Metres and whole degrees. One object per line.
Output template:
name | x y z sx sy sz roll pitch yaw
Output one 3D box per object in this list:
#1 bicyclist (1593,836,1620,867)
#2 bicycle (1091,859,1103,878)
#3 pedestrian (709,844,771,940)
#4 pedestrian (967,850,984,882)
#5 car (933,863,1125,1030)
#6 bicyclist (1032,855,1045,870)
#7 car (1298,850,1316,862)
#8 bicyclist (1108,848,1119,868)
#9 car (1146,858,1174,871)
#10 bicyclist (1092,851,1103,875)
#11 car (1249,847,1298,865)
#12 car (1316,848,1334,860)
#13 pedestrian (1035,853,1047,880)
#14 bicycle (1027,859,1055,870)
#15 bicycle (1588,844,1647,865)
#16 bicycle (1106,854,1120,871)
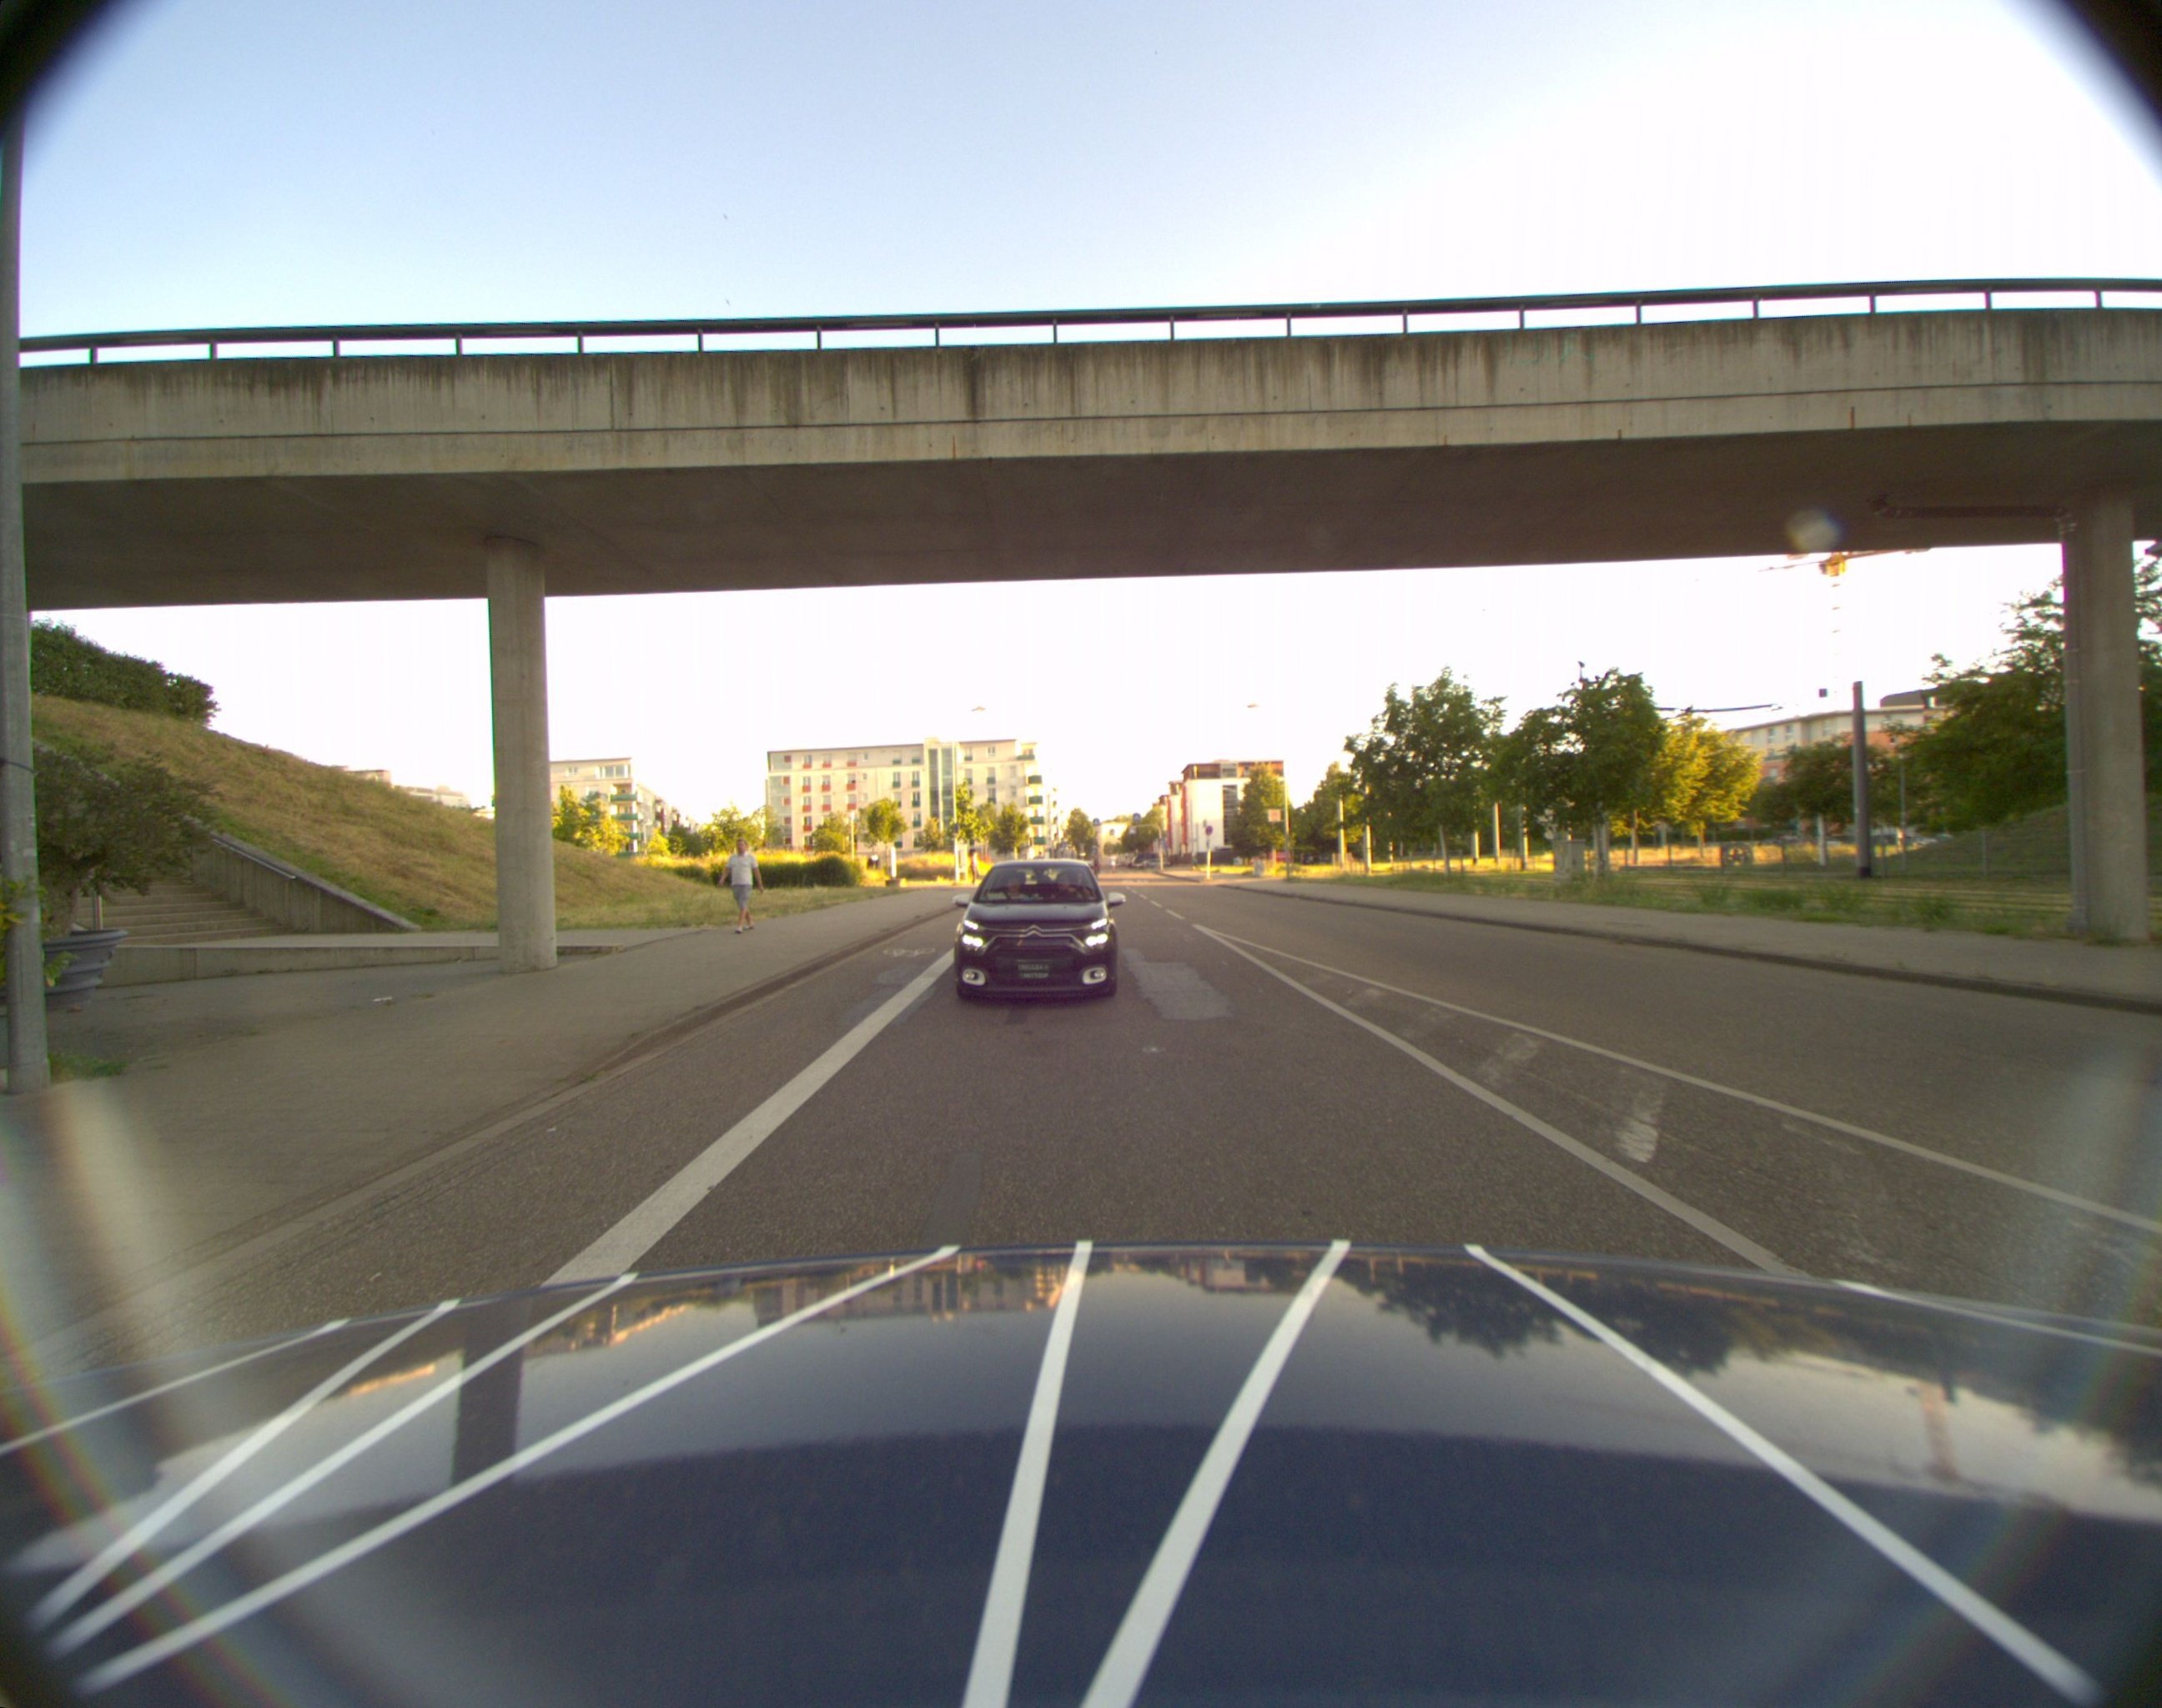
bicyclist | 28.482 -0.147 41.210 0.910 1.622 0.717 -2 0 -4
bicycle | 1.096 0.968 51.708 0.662 1.217 2.440 -2 0 4
pedestrian | -6.333 0.684 14.154 0.737 1.714 0.906 0 0 1
pedestrian | -5.371 0.609 38.664 0.737 1.620 0.859 0 0 2
car | -0.455 0.888 9.080 1.739 1.455 4.000 -2 0 1
bicyclist | -4.803 0.961 86.280 0.935 1.585 1.065 -2 0 -44
car | 28.932 0.225 97.261 1.942 1.521 4.004 -2 0 14
bicyclist | 3.031 0.375 71.739 0.882 1.865 1.035 -2 0 8
car | 11.818 1.559 113.866 3.996 1.718 2.000 -2 0 2
bicyclist | 1.114 0.617 51.479 0.697 1.630 0.852 -2 0 3
car | 23.324 0.225 92.232 5.518 2.002 2.001 -2 0 9
car | 31.054 -0.009 96.760 1.942 1.521 4.004 -2 0 14
pedestrian | -2.530 0.808 48.302 0.737 1.714 0.532 0 0 1
bicycle | -4.523 1.225 86.213 3.489 1.142 0.902 -2 0 42
bicycle | 29.134 0.024 41.269 2.842 1.002 0.655 -2 0 -4
bicycle | 3.059 0.803 72.124 0.886 1.483 3.323 -2 0 8
